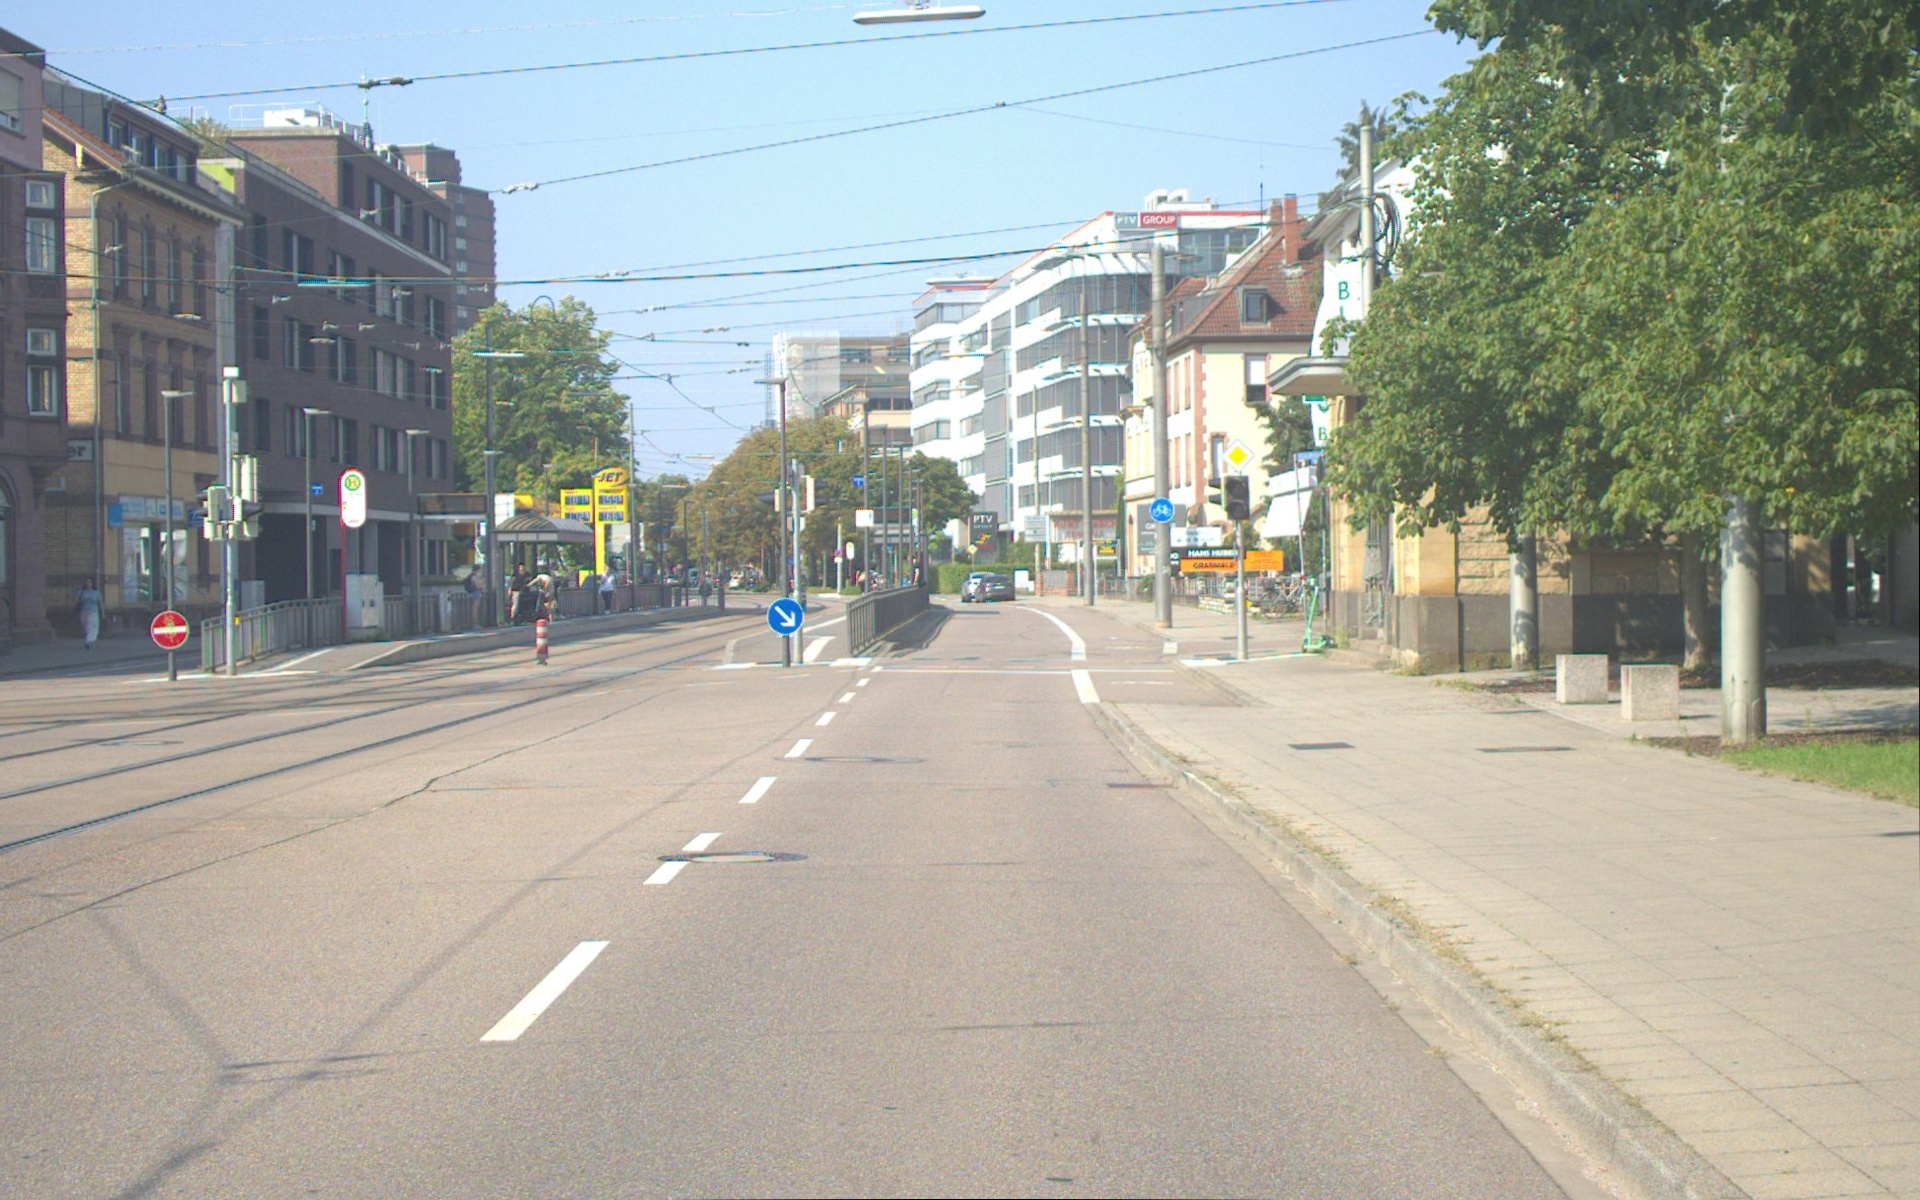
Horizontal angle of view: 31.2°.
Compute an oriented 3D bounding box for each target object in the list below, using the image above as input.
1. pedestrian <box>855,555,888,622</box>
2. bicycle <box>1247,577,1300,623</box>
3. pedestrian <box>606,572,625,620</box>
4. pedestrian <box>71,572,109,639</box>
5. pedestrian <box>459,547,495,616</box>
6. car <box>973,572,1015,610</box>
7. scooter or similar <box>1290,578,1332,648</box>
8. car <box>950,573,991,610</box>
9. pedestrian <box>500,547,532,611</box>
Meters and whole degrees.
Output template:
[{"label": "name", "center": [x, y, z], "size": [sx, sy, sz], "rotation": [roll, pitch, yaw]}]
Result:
[{"label": "pedestrian", "center": [-2.273, -0.297, 88.406], "size": [0.720, 1.697, 0.884], "rotation": [-2, 0, 2]}, {"label": "bicycle", "center": [8.067, -0.005, 88.578], "size": [0.731, 1.129, 2.840], "rotation": [-4, 0, -6]}, {"label": "pedestrian", "center": [-11.158, -0.132, 111.314], "size": [0.532, 1.525, 0.702], "rotation": [-2, 0, -5]}, {"label": "pedestrian", "center": [-20.214, 0.137, 79.901], "size": [0.483, 1.555, 0.886], "rotation": [0, -1, 12]}, {"label": "pedestrian", "center": [-12.262, -0.473, 87.306], "size": [0.708, 1.717, 0.799], "rotation": [-2, 0, 1]}, {"label": "car", "center": [1.781, -0.459, 178.428], "size": [2.011, 1.852, 4.000], "rotation": [-2, 0, 2]}, {"label": "scooter or similar", "center": [5.812, 0.203, 56.983], "size": [0.523, 1.130, 1.511], "rotation": [-2, 0, 1]}, {"label": "car", "center": [0.588, -0.471, 184.721], "size": [2.011, 1.852, 4.000], "rotation": [-2, 0, 2]}, {"label": "pedestrian", "center": [-12.164, -0.576, 94.205], "size": [0.708, 1.741, 0.799], "rotation": [-2, 0, 1]}]
